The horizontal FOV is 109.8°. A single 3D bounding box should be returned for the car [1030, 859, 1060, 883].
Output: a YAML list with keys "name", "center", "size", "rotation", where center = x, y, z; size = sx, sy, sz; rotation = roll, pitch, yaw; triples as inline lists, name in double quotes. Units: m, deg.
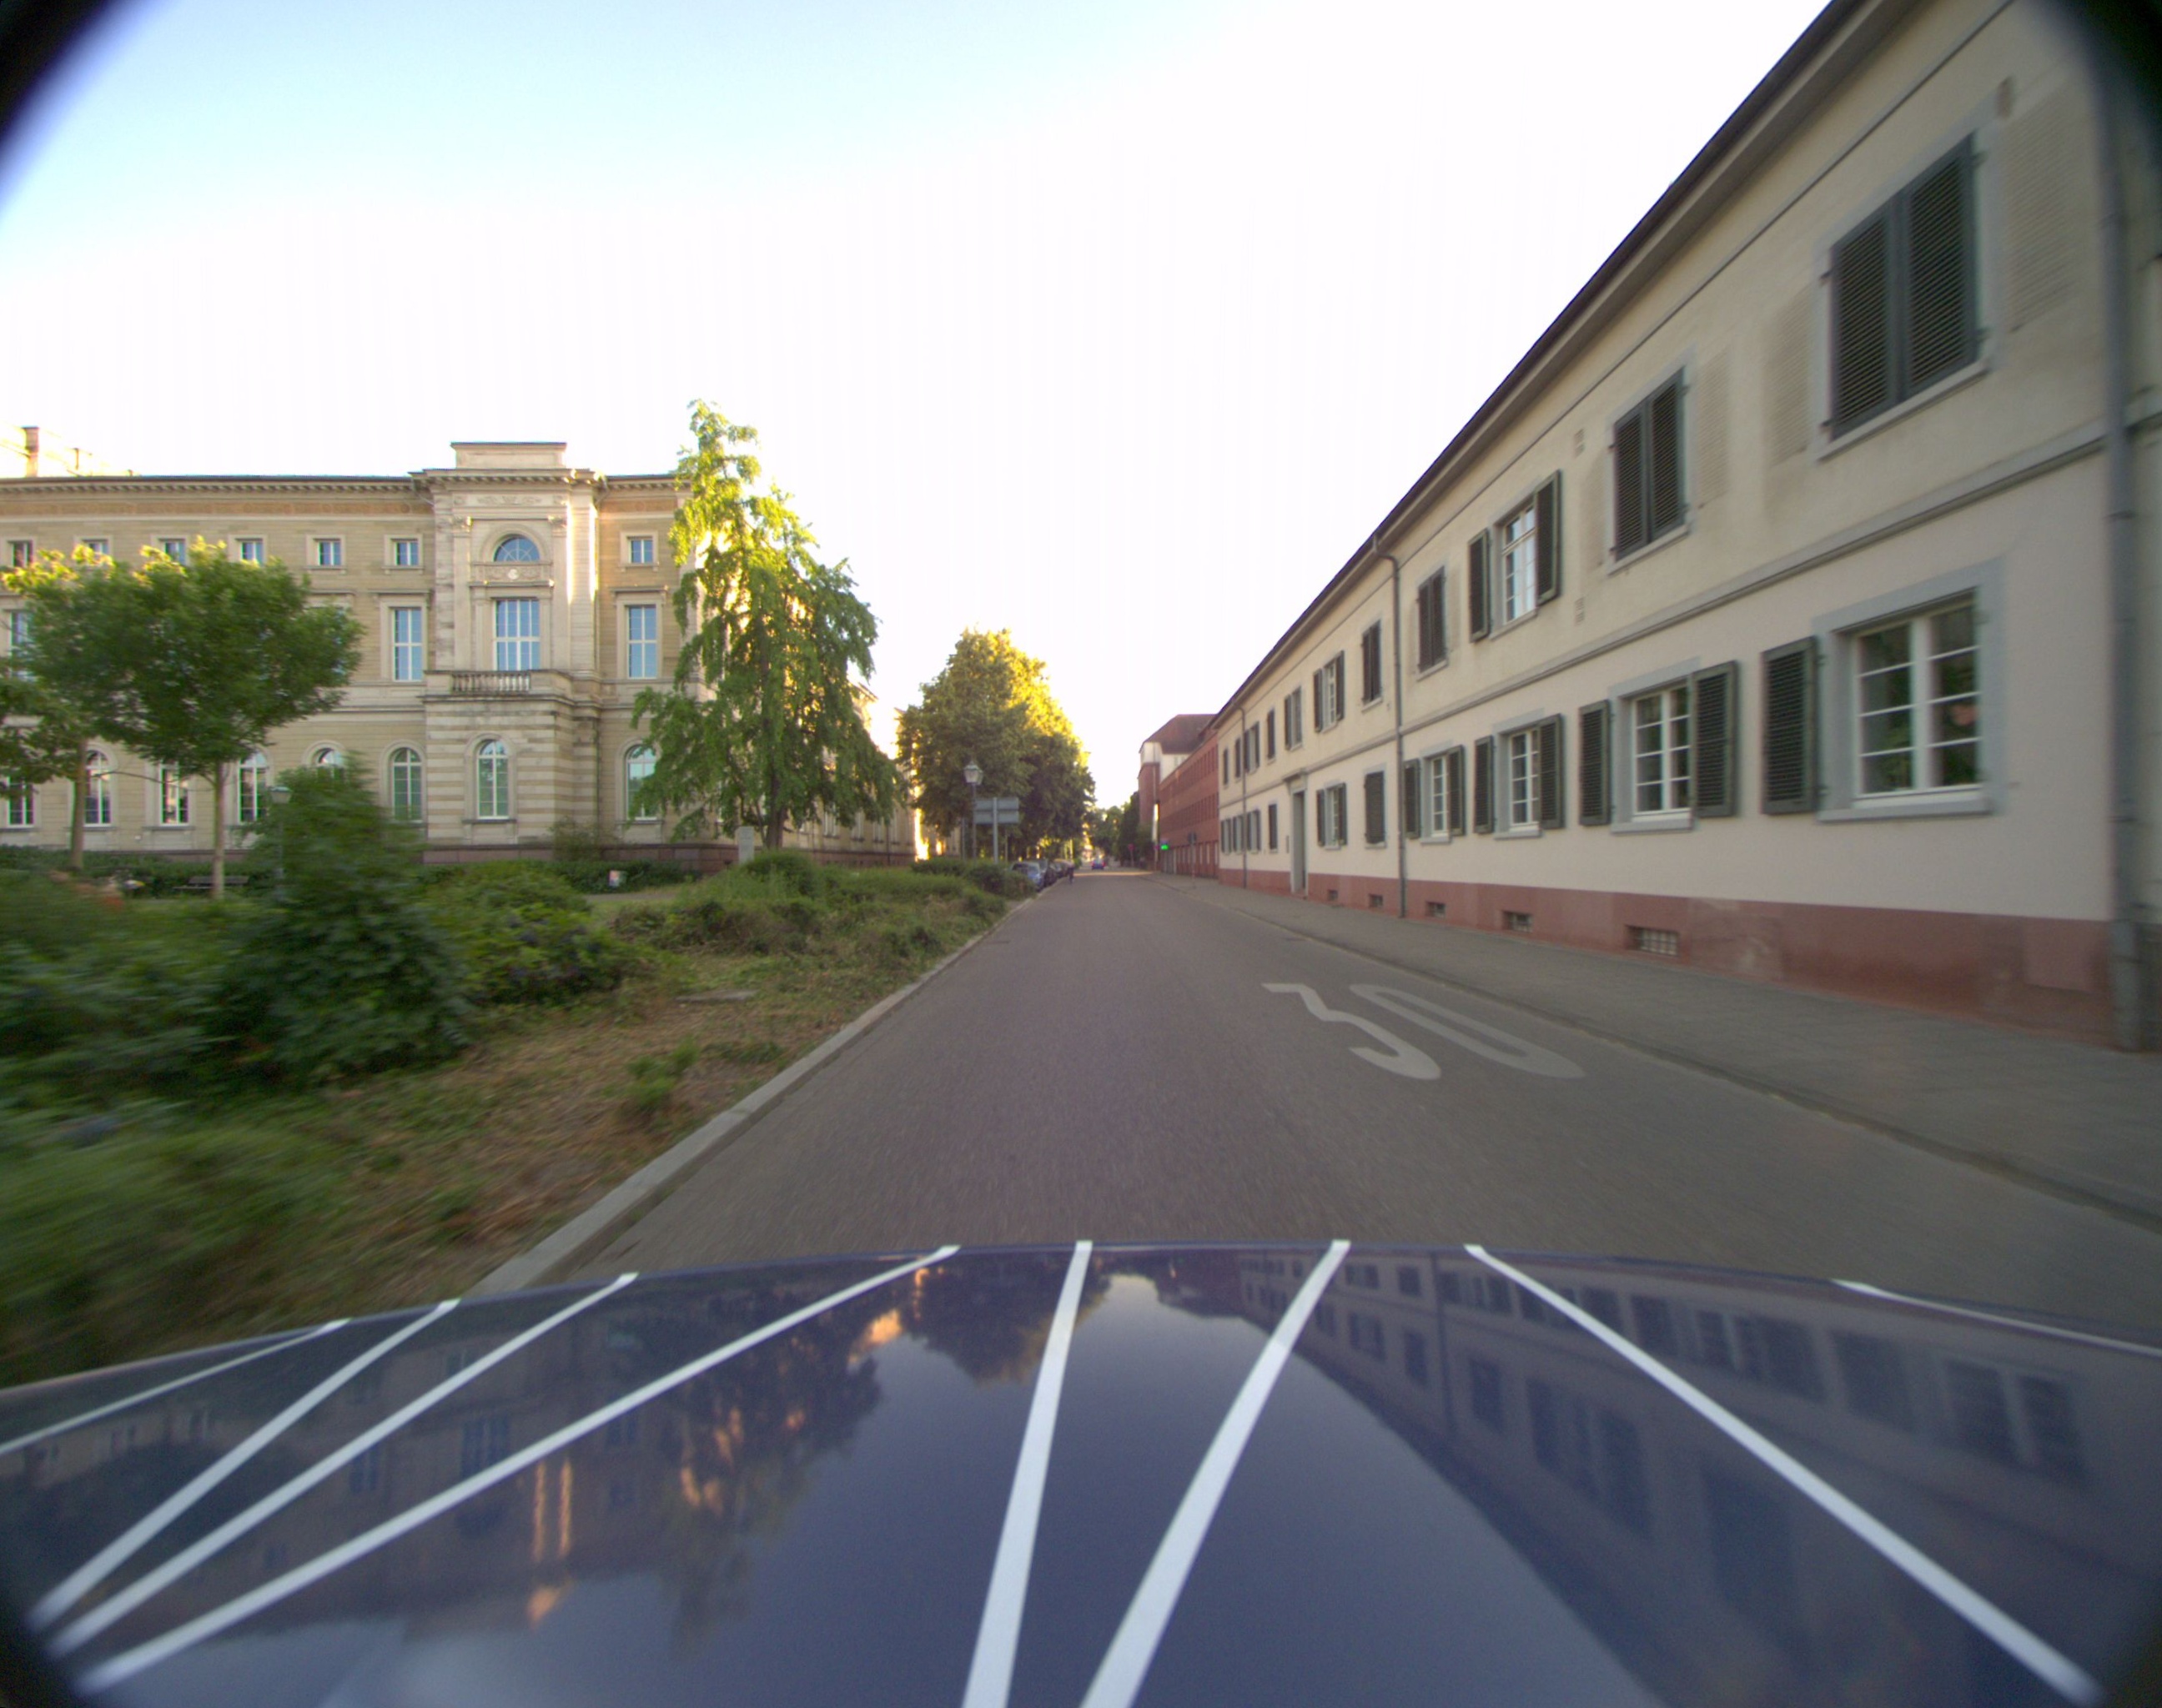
- name: "car"
  center: [-2.339, 1.065, 50.305]
  size: [1.728, 1.529, 4.190]
  rotation: [0, 0, 0]

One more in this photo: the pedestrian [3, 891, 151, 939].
- name: "pedestrian"
  center: [-13.893, 0.829, 10.571]
  size: [0.542, 0.546, 1.375]
  rotation: [3, 0, -18]

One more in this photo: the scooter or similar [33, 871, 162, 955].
- name: "scooter or similar"
  center: [-15.206, 0.897, 11.769]
  size: [1.221, 1.238, 0.418]
  rotation: [0, 1, -12]

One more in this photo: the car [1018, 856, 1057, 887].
- name: "car"
  center: [-2.461, 0.944, 44.112]
  size: [1.728, 1.642, 4.714]
  rotation: [0, 1, 4]

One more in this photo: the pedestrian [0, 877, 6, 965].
- name: "pedestrian"
  center: [-15.138, 0.915, 10.015]
  size: [0.808, 1.185, 0.789]
  rotation: [0, 1, 4]

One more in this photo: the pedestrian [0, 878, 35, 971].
- name: "pedestrian"
  center: [-14.369, 0.920, 9.794]
  size: [0.724, 1.185, 0.747]
  rotation: [0, 1, 4]

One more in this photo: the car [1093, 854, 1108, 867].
- name: "car"
  center: [3.125, 1.063, 124.421]
  size: [1.999, 1.863, 5.108]
  rotation: [-1, -2, -4]

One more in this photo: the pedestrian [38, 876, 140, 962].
- name: "pedestrian"
  center: [-14.555, 0.927, 11.160]
  size: [0.663, 1.185, 0.797]
  rotation: [0, 1, 29]

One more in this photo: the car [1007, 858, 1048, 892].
- name: "car"
  center: [-2.638, 1.022, 38.365]
  size: [1.728, 1.479, 4.610]
  rotation: [3, 0, -1]

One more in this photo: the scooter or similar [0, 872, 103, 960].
- name: "scooter or similar"
  center: [-15.371, 0.895, 11.155]
  size: [1.221, 1.238, 0.417]
  rotation: [0, 1, -15]

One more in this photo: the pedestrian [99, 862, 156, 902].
- name: "pedestrian"
  center: [-33.638, 0.984, 26.816]
  size: [0.695, 1.389, 1.045]
  rotation: [0, 0, 1]

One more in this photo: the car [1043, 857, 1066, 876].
- name: "car"
  center: [-2.250, 1.058, 66.527]
  size: [1.739, 1.498, 4.521]
  rotation: [3, 1, 0]

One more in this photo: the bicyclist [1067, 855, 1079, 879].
- name: "bicyclist"
  center: [-0.522, 0.840, 49.809]
  size: [0.753, 1.603, 1.038]
  rotation: [0, 0, -2]

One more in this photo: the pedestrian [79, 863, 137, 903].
- name: "pedestrian"
  center: [-34.519, 1.016, 26.968]
  size: [0.695, 1.389, 1.045]
  rotation: [0, 0, 1]

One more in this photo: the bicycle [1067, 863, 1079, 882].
- name: "bicycle"
  center: [-0.544, 1.209, 49.790]
  size: [0.753, 1.245, 2.210]
  rotation: [0, 0, -2]
